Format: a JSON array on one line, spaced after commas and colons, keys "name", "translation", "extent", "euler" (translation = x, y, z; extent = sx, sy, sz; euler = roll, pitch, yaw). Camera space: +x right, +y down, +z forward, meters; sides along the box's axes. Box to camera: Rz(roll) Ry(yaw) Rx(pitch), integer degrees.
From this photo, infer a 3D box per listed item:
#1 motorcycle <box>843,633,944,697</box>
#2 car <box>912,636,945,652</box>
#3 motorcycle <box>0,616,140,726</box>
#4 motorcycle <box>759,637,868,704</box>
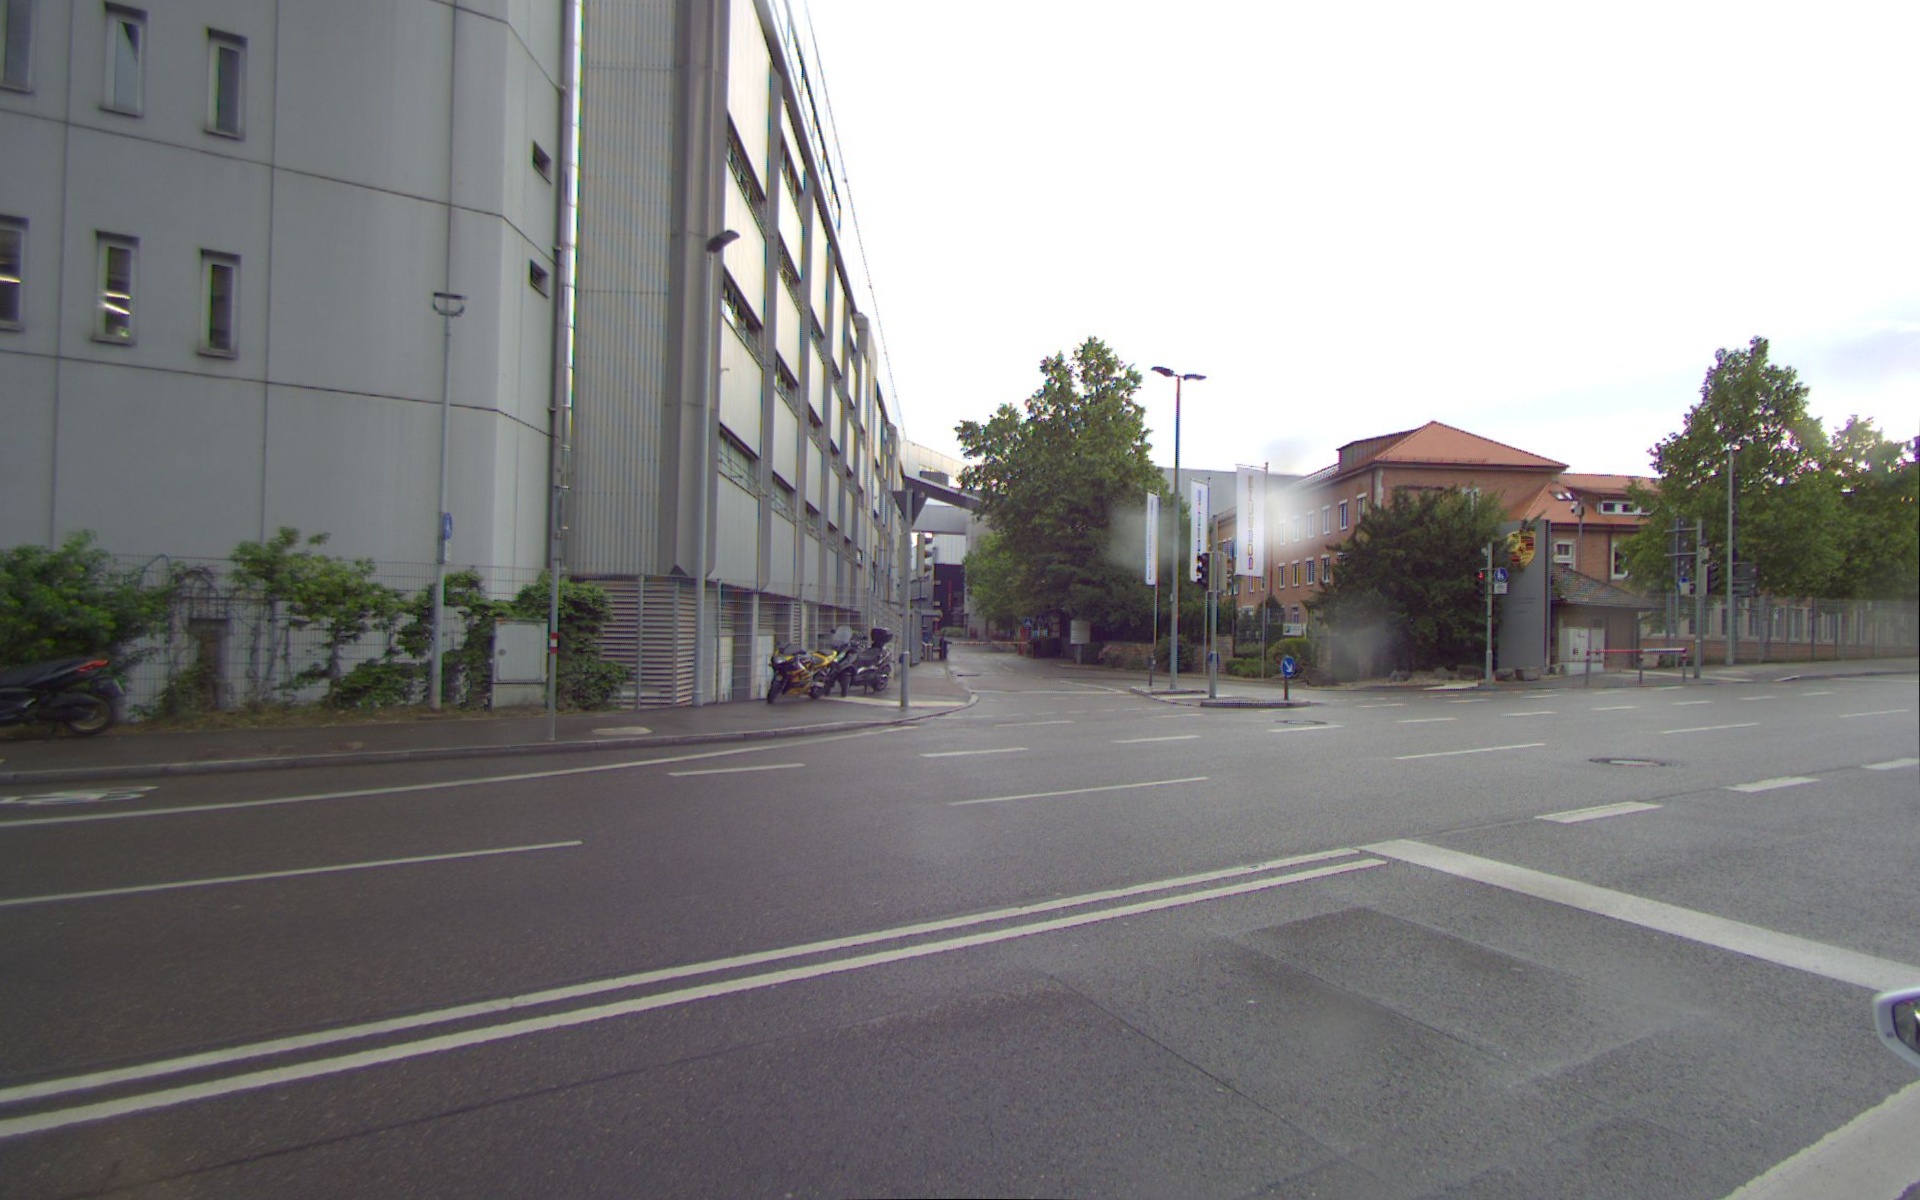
[{"name": "motorcycle", "translation": [-1.450, 1.425, 22.628], "extent": [1.008, 1.355, 2.772], "euler": [-1, -2, 27]}, {"name": "car", "translation": [-4.092, 5.694, 130.714], "extent": [3.913, 1.849, 1.955], "euler": [2, 0, -31]}, {"name": "motorcycle", "translation": [-11.192, 0.823, 11.931], "extent": [2.133, 1.263, 0.780], "euler": [1, -2, -32]}, {"name": "motorcycle", "translation": [-2.903, 1.372, 20.191], "extent": [0.759, 1.234, 2.504], "euler": [0, -1, 30]}]
